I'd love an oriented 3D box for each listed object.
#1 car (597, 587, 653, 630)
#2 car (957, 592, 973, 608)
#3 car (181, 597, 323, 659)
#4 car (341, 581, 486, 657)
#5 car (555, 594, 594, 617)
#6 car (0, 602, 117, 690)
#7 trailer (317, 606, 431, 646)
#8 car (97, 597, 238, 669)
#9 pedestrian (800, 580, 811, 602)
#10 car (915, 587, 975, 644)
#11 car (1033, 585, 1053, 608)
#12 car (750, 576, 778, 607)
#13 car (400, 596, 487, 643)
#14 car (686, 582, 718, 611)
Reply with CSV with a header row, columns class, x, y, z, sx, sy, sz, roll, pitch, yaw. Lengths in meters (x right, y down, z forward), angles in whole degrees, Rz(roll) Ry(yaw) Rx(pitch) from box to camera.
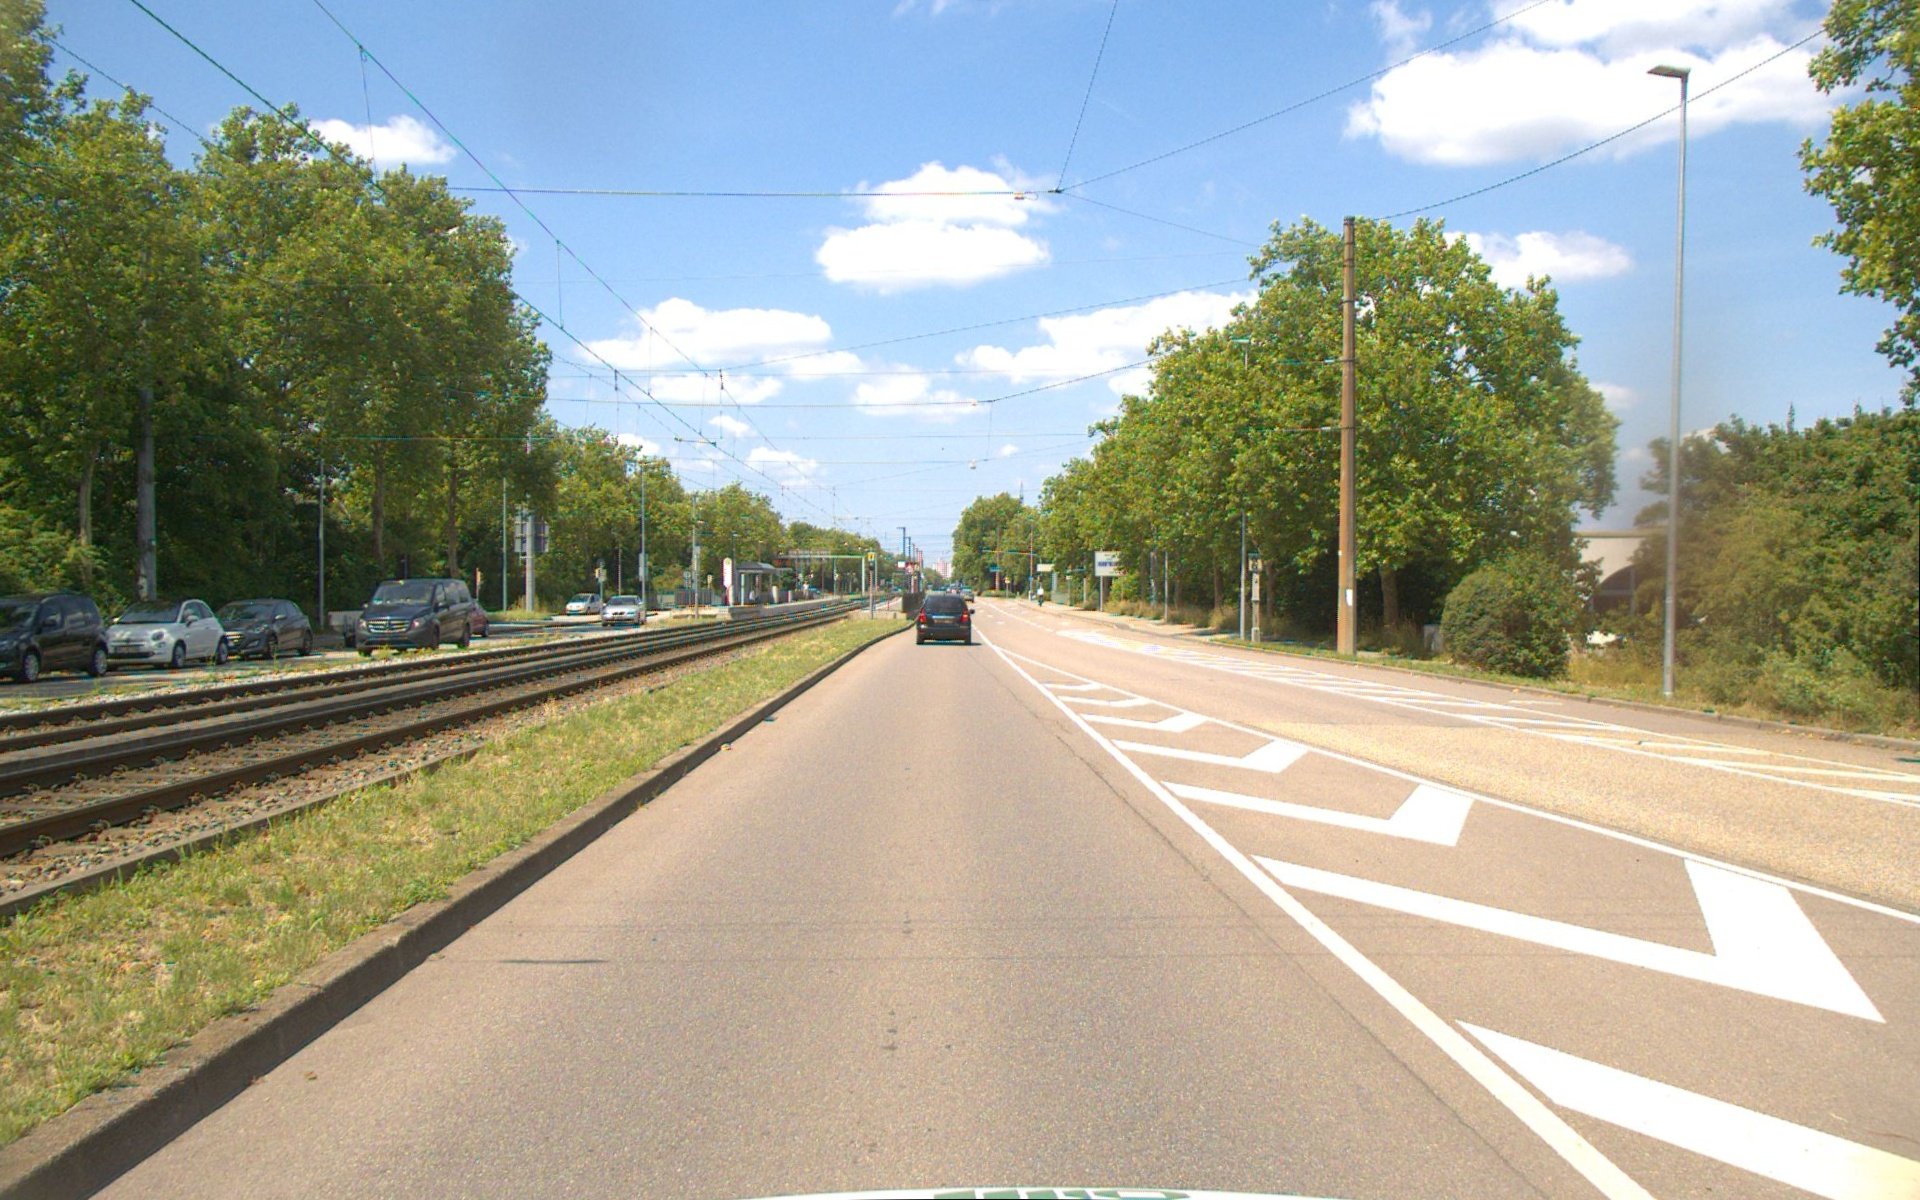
class,x,y,z,sx,sy,sz,roll,pitch,yaw
car,-16.351,0.402,80.951,1.953,2.049,3.999,1,0,-1
car,0.580,-0.042,192.609,1.846,1.668,4.001,4,1,0
car,-17.771,0.667,41.728,1.833,1.425,4.416,1,0,-3
car,-14.113,0.445,43.081,2.074,1.821,5.404,1,0,-1
car,-28.455,0.382,122.214,1.953,1.601,4.000,1,0,0
car,-17.229,0.797,30.573,1.405,1.477,3.919,1,0,-2
trailer,-18.126,0.779,51.405,1.854,1.062,5.101,1,0,-2
car,-17.399,0.684,36.474,1.405,1.477,3.739,1,0,-2
pedestrian,-14.349,-0.842,153.706,0.933,2.048,0.892,1,1,-1
car,-0.459,0.474,53.222,1.815,1.597,4.389,1,2,0
car,7.586,-0.329,151.195,1.580,2.048,3.439,1,1,-1
car,-13.701,-0.641,115.937,1.553,2.048,4.109,1,1,-2
car,-18.505,0.657,59.431,1.953,1.601,3.999,1,0,-1
car,-19.424,-0.304,124.552,1.954,2.048,3.997,1,1,-4
